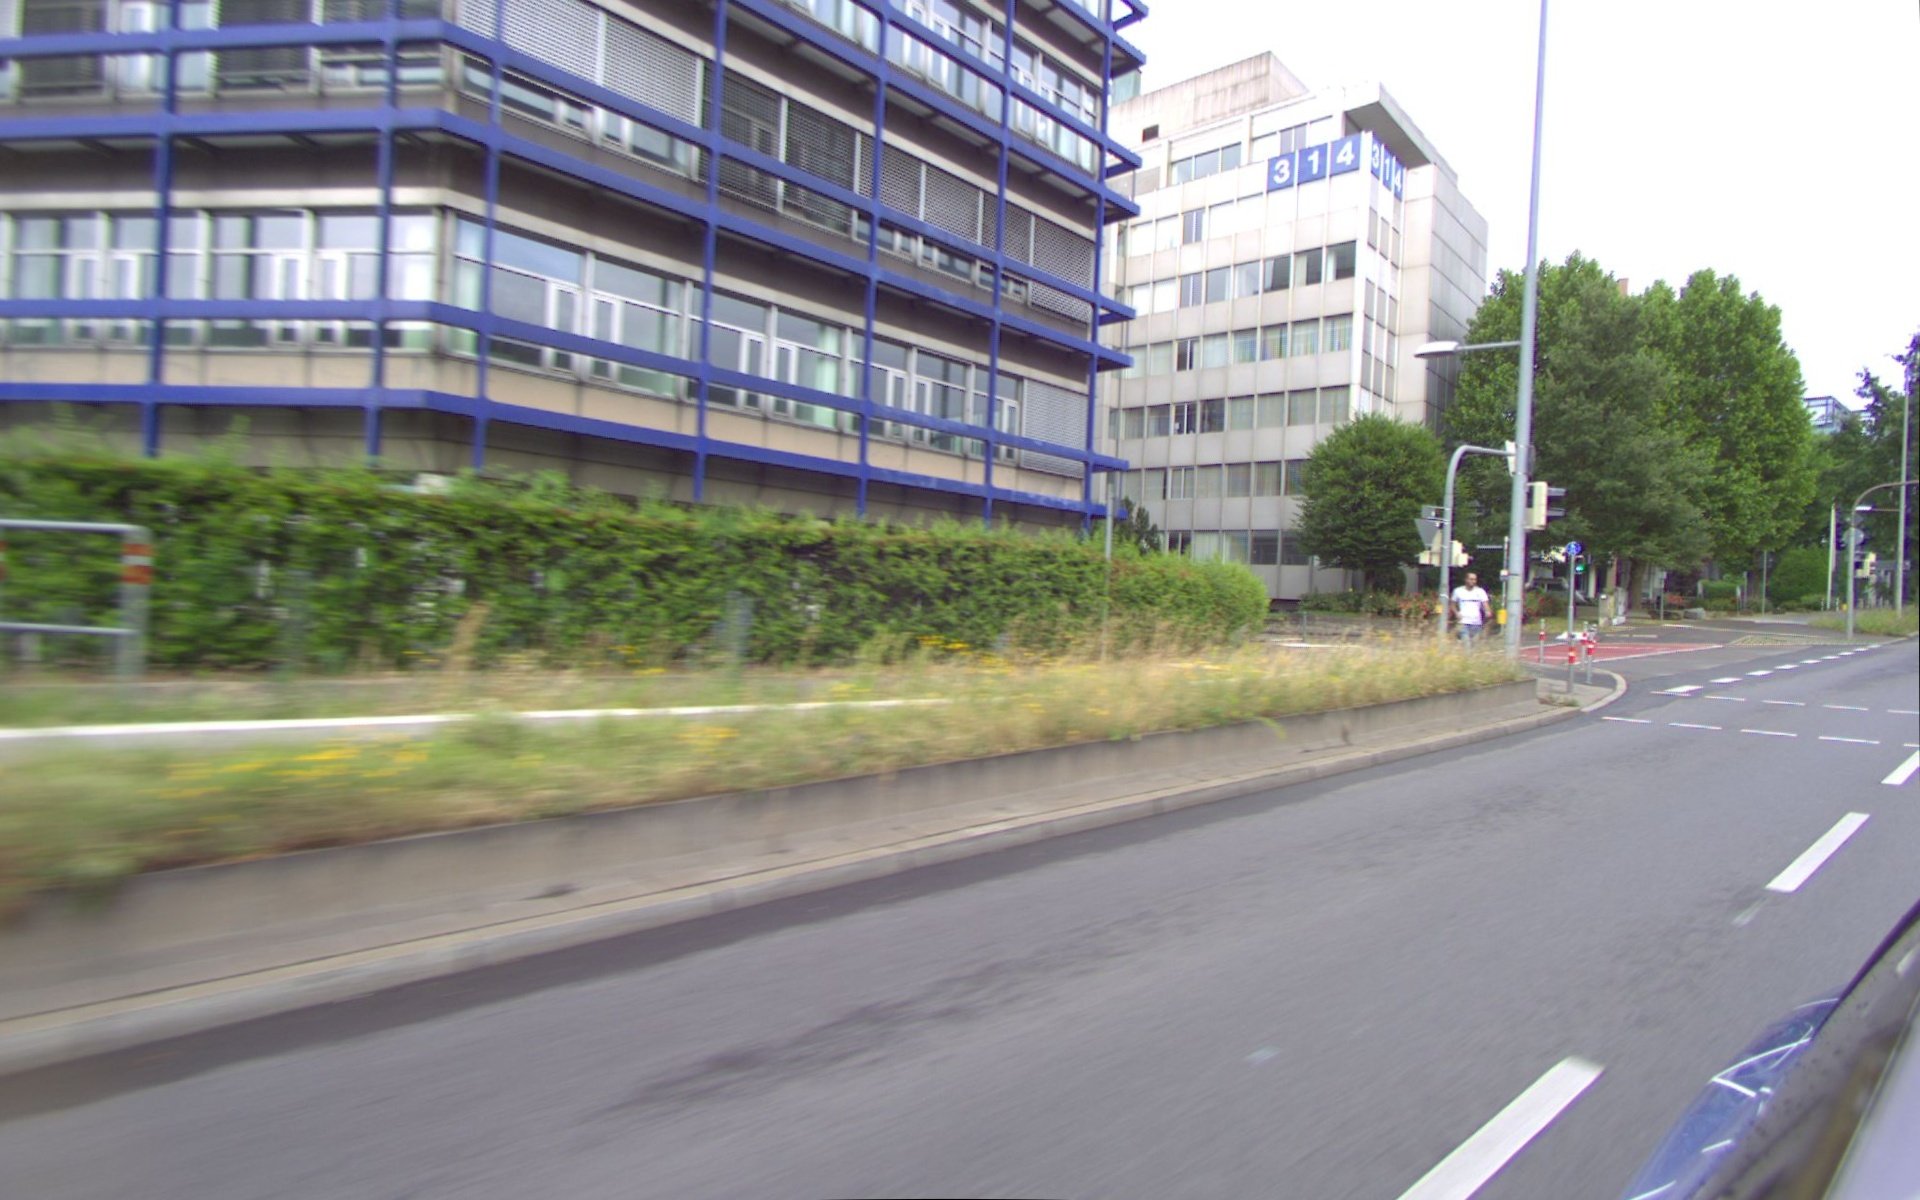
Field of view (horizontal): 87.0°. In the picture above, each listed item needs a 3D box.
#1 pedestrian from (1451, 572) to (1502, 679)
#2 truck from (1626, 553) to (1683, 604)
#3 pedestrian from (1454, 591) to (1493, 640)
[{"bbox_3d":[8.296,0.386,16.238,0.553,1.673,0.820,1,1,39],"label":"pedestrian"},{"bbox_3d":[36.223,-1.122,52.770,3.935,2.549,1.747,-1,0,-45],"label":"truck"},{"bbox_3d":[16.669,0.489,32.877,0.784,1.560,0.905,1,1,-2],"label":"pedestrian"}]
